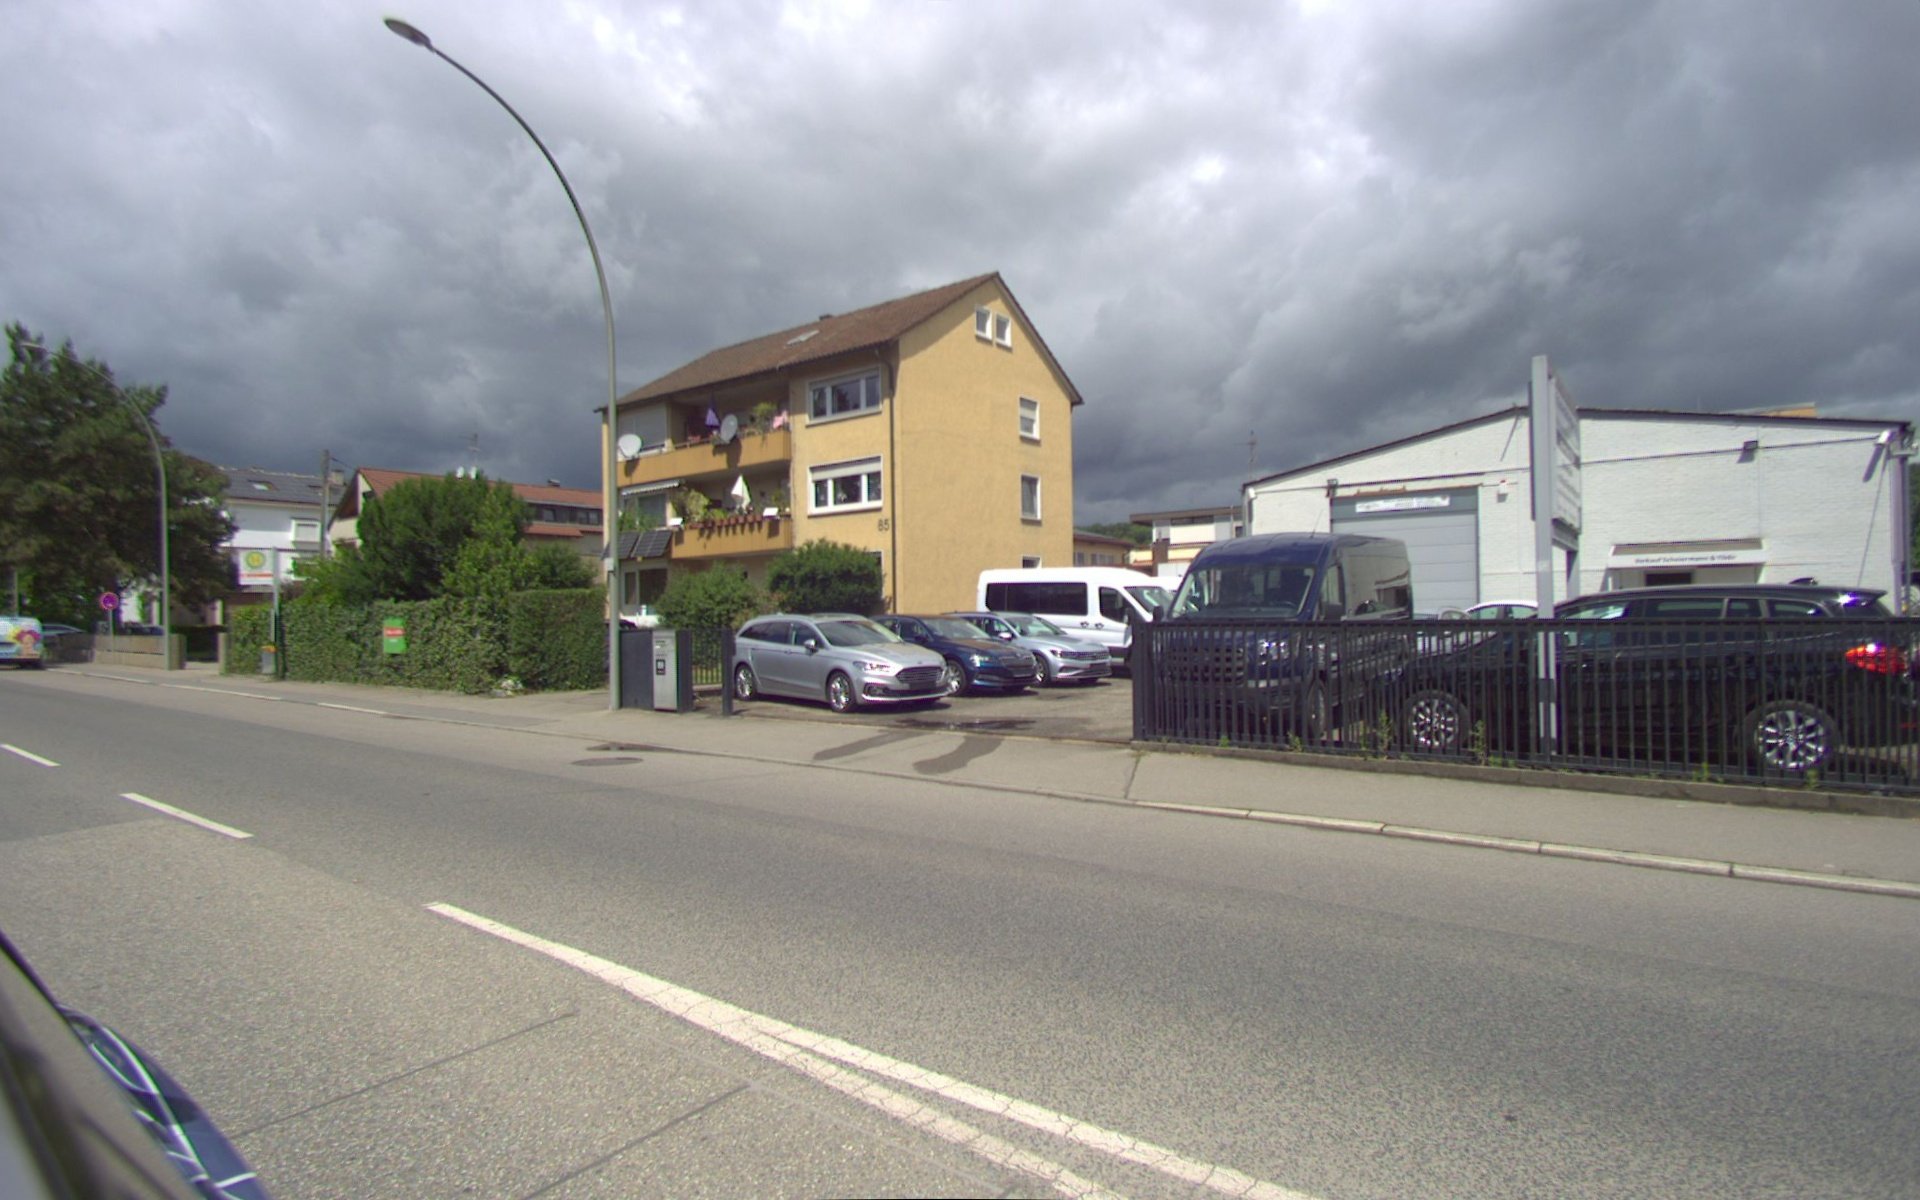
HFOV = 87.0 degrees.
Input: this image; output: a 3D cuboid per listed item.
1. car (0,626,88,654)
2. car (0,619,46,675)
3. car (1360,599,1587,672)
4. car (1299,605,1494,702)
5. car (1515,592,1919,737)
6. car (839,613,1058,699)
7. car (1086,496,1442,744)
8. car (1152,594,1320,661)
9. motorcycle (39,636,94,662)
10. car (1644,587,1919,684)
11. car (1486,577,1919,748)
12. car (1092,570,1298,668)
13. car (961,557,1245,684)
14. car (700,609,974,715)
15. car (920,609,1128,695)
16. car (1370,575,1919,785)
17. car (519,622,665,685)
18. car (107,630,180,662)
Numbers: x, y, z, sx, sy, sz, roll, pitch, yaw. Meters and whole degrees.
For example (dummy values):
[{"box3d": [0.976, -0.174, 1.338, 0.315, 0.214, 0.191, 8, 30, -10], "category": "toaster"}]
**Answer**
[{"box3d": [-56.121, 2.397, 61.087, 1.969, 1.563, 4.962, -1, -1, 37], "category": "car"}, {"box3d": [-34.612, 1.703, 36.348, 4.889, 1.868, 1.815, -3, -6, 39], "category": "car"}, {"box3d": [13.232, 0.902, 26.236, 4.997, 1.726, 2.030, -2, -2, 36], "category": "car"}, {"box3d": [7.756, 0.872, 17.792, 1.954, 1.490, 3.996, -2, -2, 42], "category": "car"}, {"box3d": [9.615, 0.781, 13.235, 3.989, 1.630, 1.761, -1, -2, 34], "category": "car"}, {"box3d": [-0.343, 0.996, 19.126, 1.822, 1.437, 4.338, 1, -2, -40], "category": "car"}, {"box3d": [4.289, 0.278, 13.393, 2.474, 2.515, 5.978, -2, -2, 38], "category": "car"}, {"box3d": [7.952, 0.809, 29.381, 4.327, 1.805, 1.826, -2, -2, 40], "category": "car"}, {"box3d": [-41.963, 2.272, 47.572, 1.845, 1.174, 0.827, 1, -2, -35], "category": "motorcycle"}, {"box3d": [15.079, 0.648, 18.691, 3.989, 1.630, 1.761, -1, -2, 34], "category": "car"}, {"box3d": [8.249, 0.648, 11.369, 3.989, 1.630, 1.761, -1, -2, 34], "category": "car"}, {"box3d": [6.244, 0.537, 27.219, 4.997, 2.414, 2.072, -2, -2, 36], "category": "car"}, {"box3d": [3.106, 0.516, 23.054, 6.133, 2.514, 2.387, -2, -4, 42], "category": "car"}, {"box3d": [-2.261, 0.950, 17.054, 1.969, 1.497, 5.348, 1, -2, -40], "category": "car"}, {"box3d": [1.212, 1.020, 20.937, 1.822, 1.589, 4.338, 1, -2, -40], "category": "car"}, {"box3d": [6.425, 0.675, 9.699, 4.275, 1.607, 2.013, -2, -2, 36], "category": "car"}, {"box3d": [-9.200, 1.270, 25.136, 1.823, 1.437, 4.334, 1, -2, -44], "category": "car"}, {"box3d": [-40.941, 2.282, 50.724, 4.078, 1.555, 1.752, -1, -2, 35], "category": "car"}]
